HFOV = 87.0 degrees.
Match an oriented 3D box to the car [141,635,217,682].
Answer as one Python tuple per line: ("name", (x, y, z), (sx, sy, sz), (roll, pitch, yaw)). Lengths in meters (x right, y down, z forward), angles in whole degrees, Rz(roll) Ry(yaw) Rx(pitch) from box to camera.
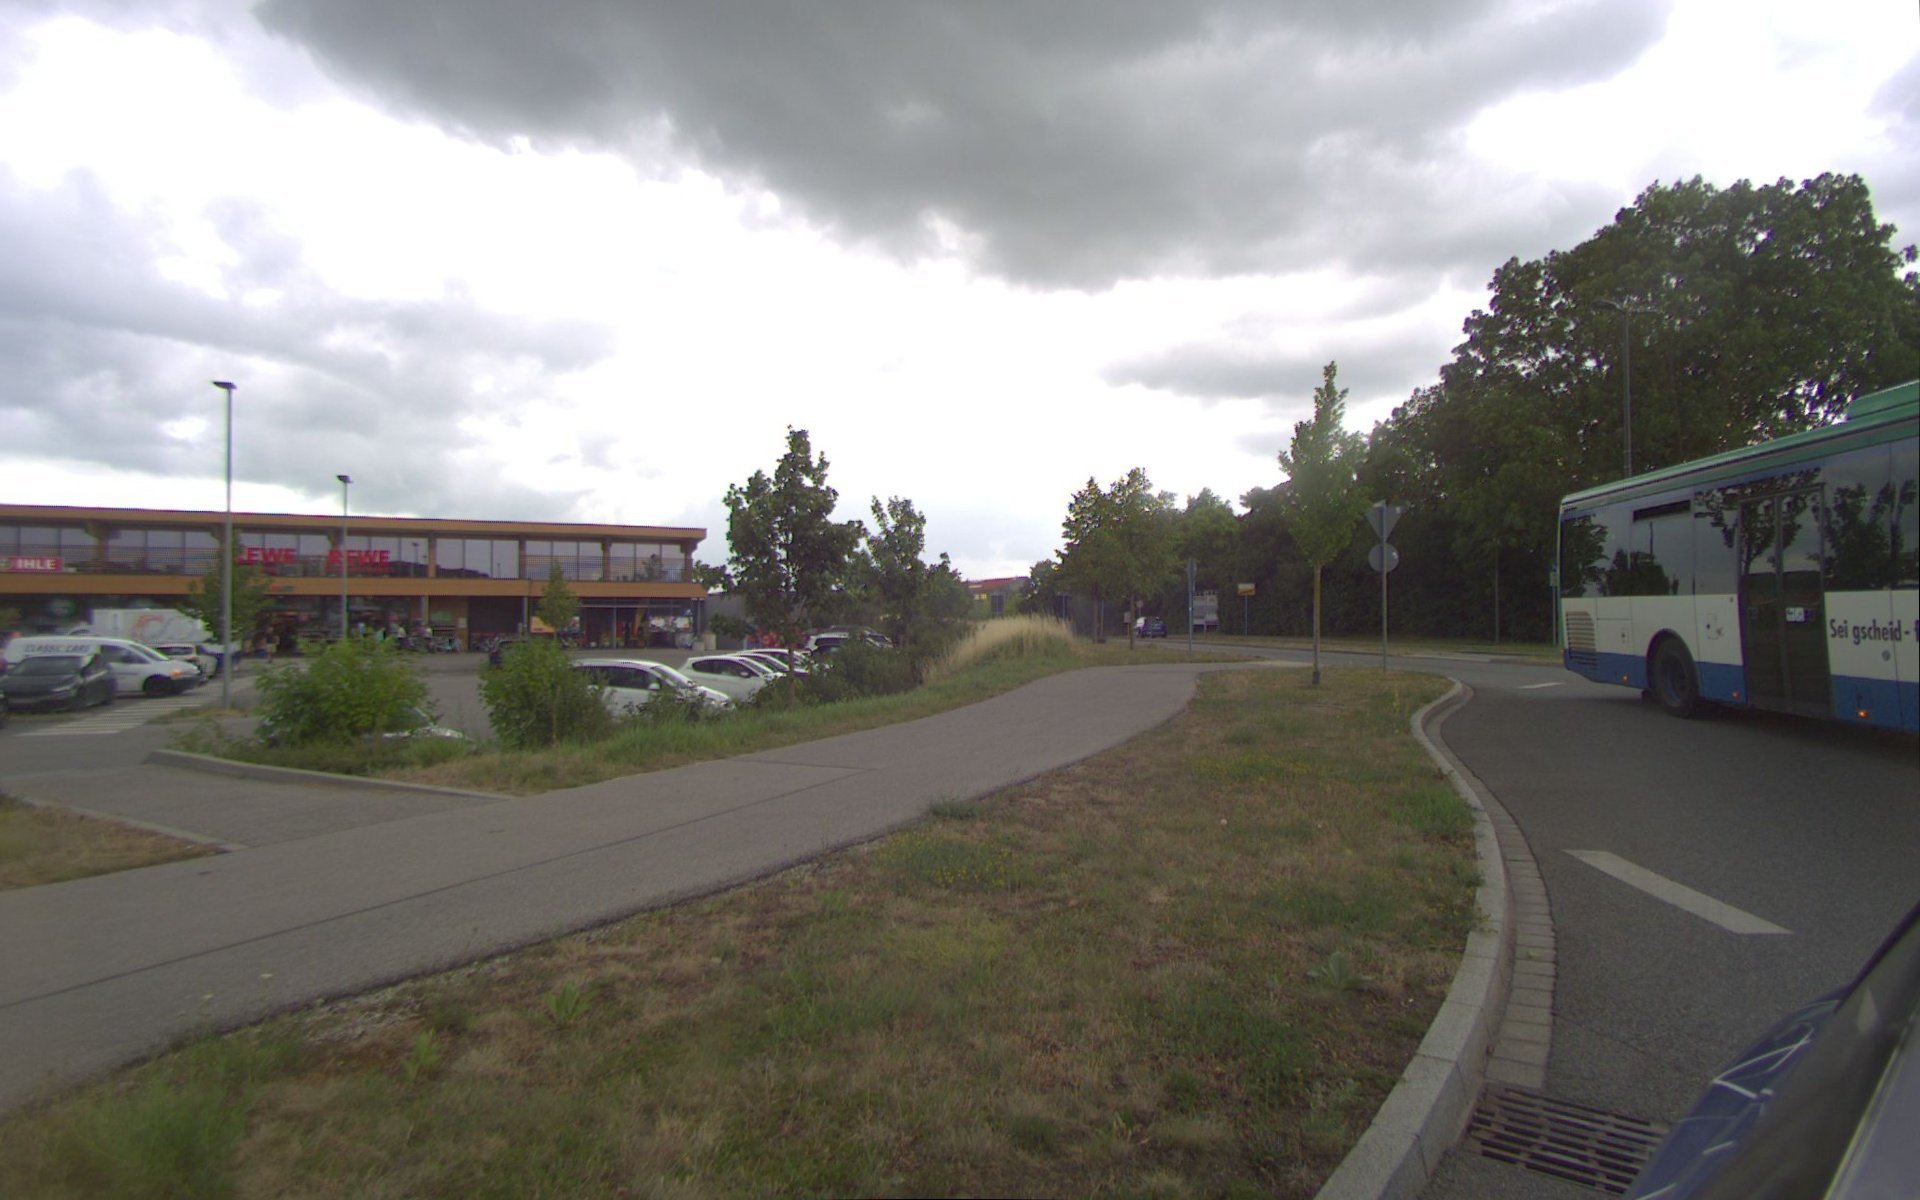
("car", (-29.609, 2.160, 38.452), (1.697, 1.549, 4.004), (0, 0, -29))

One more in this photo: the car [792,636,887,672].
("car", (-5.236, 2.343, 44.154), (3.823, 1.483, 1.694), (-1, -1, 7))

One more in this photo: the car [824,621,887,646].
("car", (-6.677, 2.127, 64.701), (3.918, 1.462, 1.886), (-1, -1, -8))

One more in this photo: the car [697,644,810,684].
("car", (-7.203, 2.236, 35.450), (3.613, 1.311, 1.413), (0, -1, 7))

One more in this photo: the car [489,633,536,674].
("car", (-19.125, 2.250, 43.186), (1.680, 1.588, 3.675), (0, -1, -26))

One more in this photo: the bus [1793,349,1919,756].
("bus", (8.661, -0.349, 6.379), (2.486, 3.299, 6.526), (0, 1, 12))

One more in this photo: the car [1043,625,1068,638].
("car", (10.049, 3.324, 106.626), (1.794, 1.324, 4.118), (1, -1, -5))

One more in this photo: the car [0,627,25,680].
("car", (-35.317, 1.940, 36.059), (1.736, 1.878, 4.006), (-1, -1, -24))

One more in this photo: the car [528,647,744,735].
("car", (-7.379, 2.045, 23.297), (4.363, 1.694, 1.799), (2, 0, 3))

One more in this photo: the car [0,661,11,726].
("car", (-21.836, 2.123, 21.251), (1.799, 1.416, 4.004), (0, 0, -28))

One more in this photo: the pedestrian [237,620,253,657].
("pedestrian", (-38.506, 2.061, 54.532), (0.566, 1.974, 0.526), (0, -1, -18))

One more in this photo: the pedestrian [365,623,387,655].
("pedestrian", (-31.542, 2.118, 54.667), (0.789, 1.678, 0.751), (0, -1, -6))

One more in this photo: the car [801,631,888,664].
("car", (-5.423, 2.238, 47.664), (3.823, 1.483, 1.694), (-1, -1, 7))

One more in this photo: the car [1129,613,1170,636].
("car", (12.887, 1.676, 68.905), (1.728, 1.449, 4.083), (-1, -3, -4))

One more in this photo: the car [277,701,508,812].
("car", (-9.167, 2.429, 16.290), (3.698, 1.390, 1.565), (-2, -1, 29))

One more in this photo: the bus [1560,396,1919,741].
("bus", (9.793, -0.353, 12.337), (2.485, 3.299, 5.445), (0, 1, 10))

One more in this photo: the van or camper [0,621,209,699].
("van or camper", (-25.702, 1.751, 30.442), (4.706, 2.125, 1.768), (0, -1, -26))

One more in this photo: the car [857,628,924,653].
("car", (-4.217, 2.463, 61.696), (3.823, 1.483, 1.694), (-1, -1, 7))

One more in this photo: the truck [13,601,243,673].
("truck", (-35.233, 1.484, 43.273), (7.111, 2.843, 2.979), (0, -1, -29))

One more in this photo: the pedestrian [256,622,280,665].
("pedestrian", (-34.213, 2.142, 50.032), (0.913, 2.039, 0.806), (0, -1, -31))

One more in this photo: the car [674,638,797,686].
("car", (-7.001, 1.921, 31.838), (3.602, 1.311, 1.718), (-1, 0, -6))

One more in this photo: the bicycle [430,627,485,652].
("bicycle", (-28.796, 2.242, 58.026), (2.810, 1.326, 0.981), (0, -1, -25))

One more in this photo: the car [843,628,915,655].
("car", (-4.614, 2.353, 57.768), (3.823, 1.483, 1.694), (-1, -1, 7))

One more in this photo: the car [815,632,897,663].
("car", (-5.199, 2.374, 50.771), (3.823, 1.483, 1.694), (-1, -1, 7))

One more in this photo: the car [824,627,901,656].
("car", (-5.152, 2.220, 53.924), (3.823, 1.483, 1.694), (-1, -1, 7))

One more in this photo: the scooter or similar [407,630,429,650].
("scooter or similar", (-31.188, 2.300, 58.232), (0.984, 1.141, 0.793), (1, -4, -37))

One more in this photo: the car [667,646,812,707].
("car", (-6.387, 2.197, 29.698), (3.920, 1.527, 2.002), (-1, 0, -5))

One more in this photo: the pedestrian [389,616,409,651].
("pedestrian", (-31.952, 1.909, 57.670), (0.911, 1.923, 0.793), (1, -4, -37))

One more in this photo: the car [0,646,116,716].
("car", (-24.064, 2.087, 26.970), (1.697, 1.573, 4.004), (0, -1, -29))
